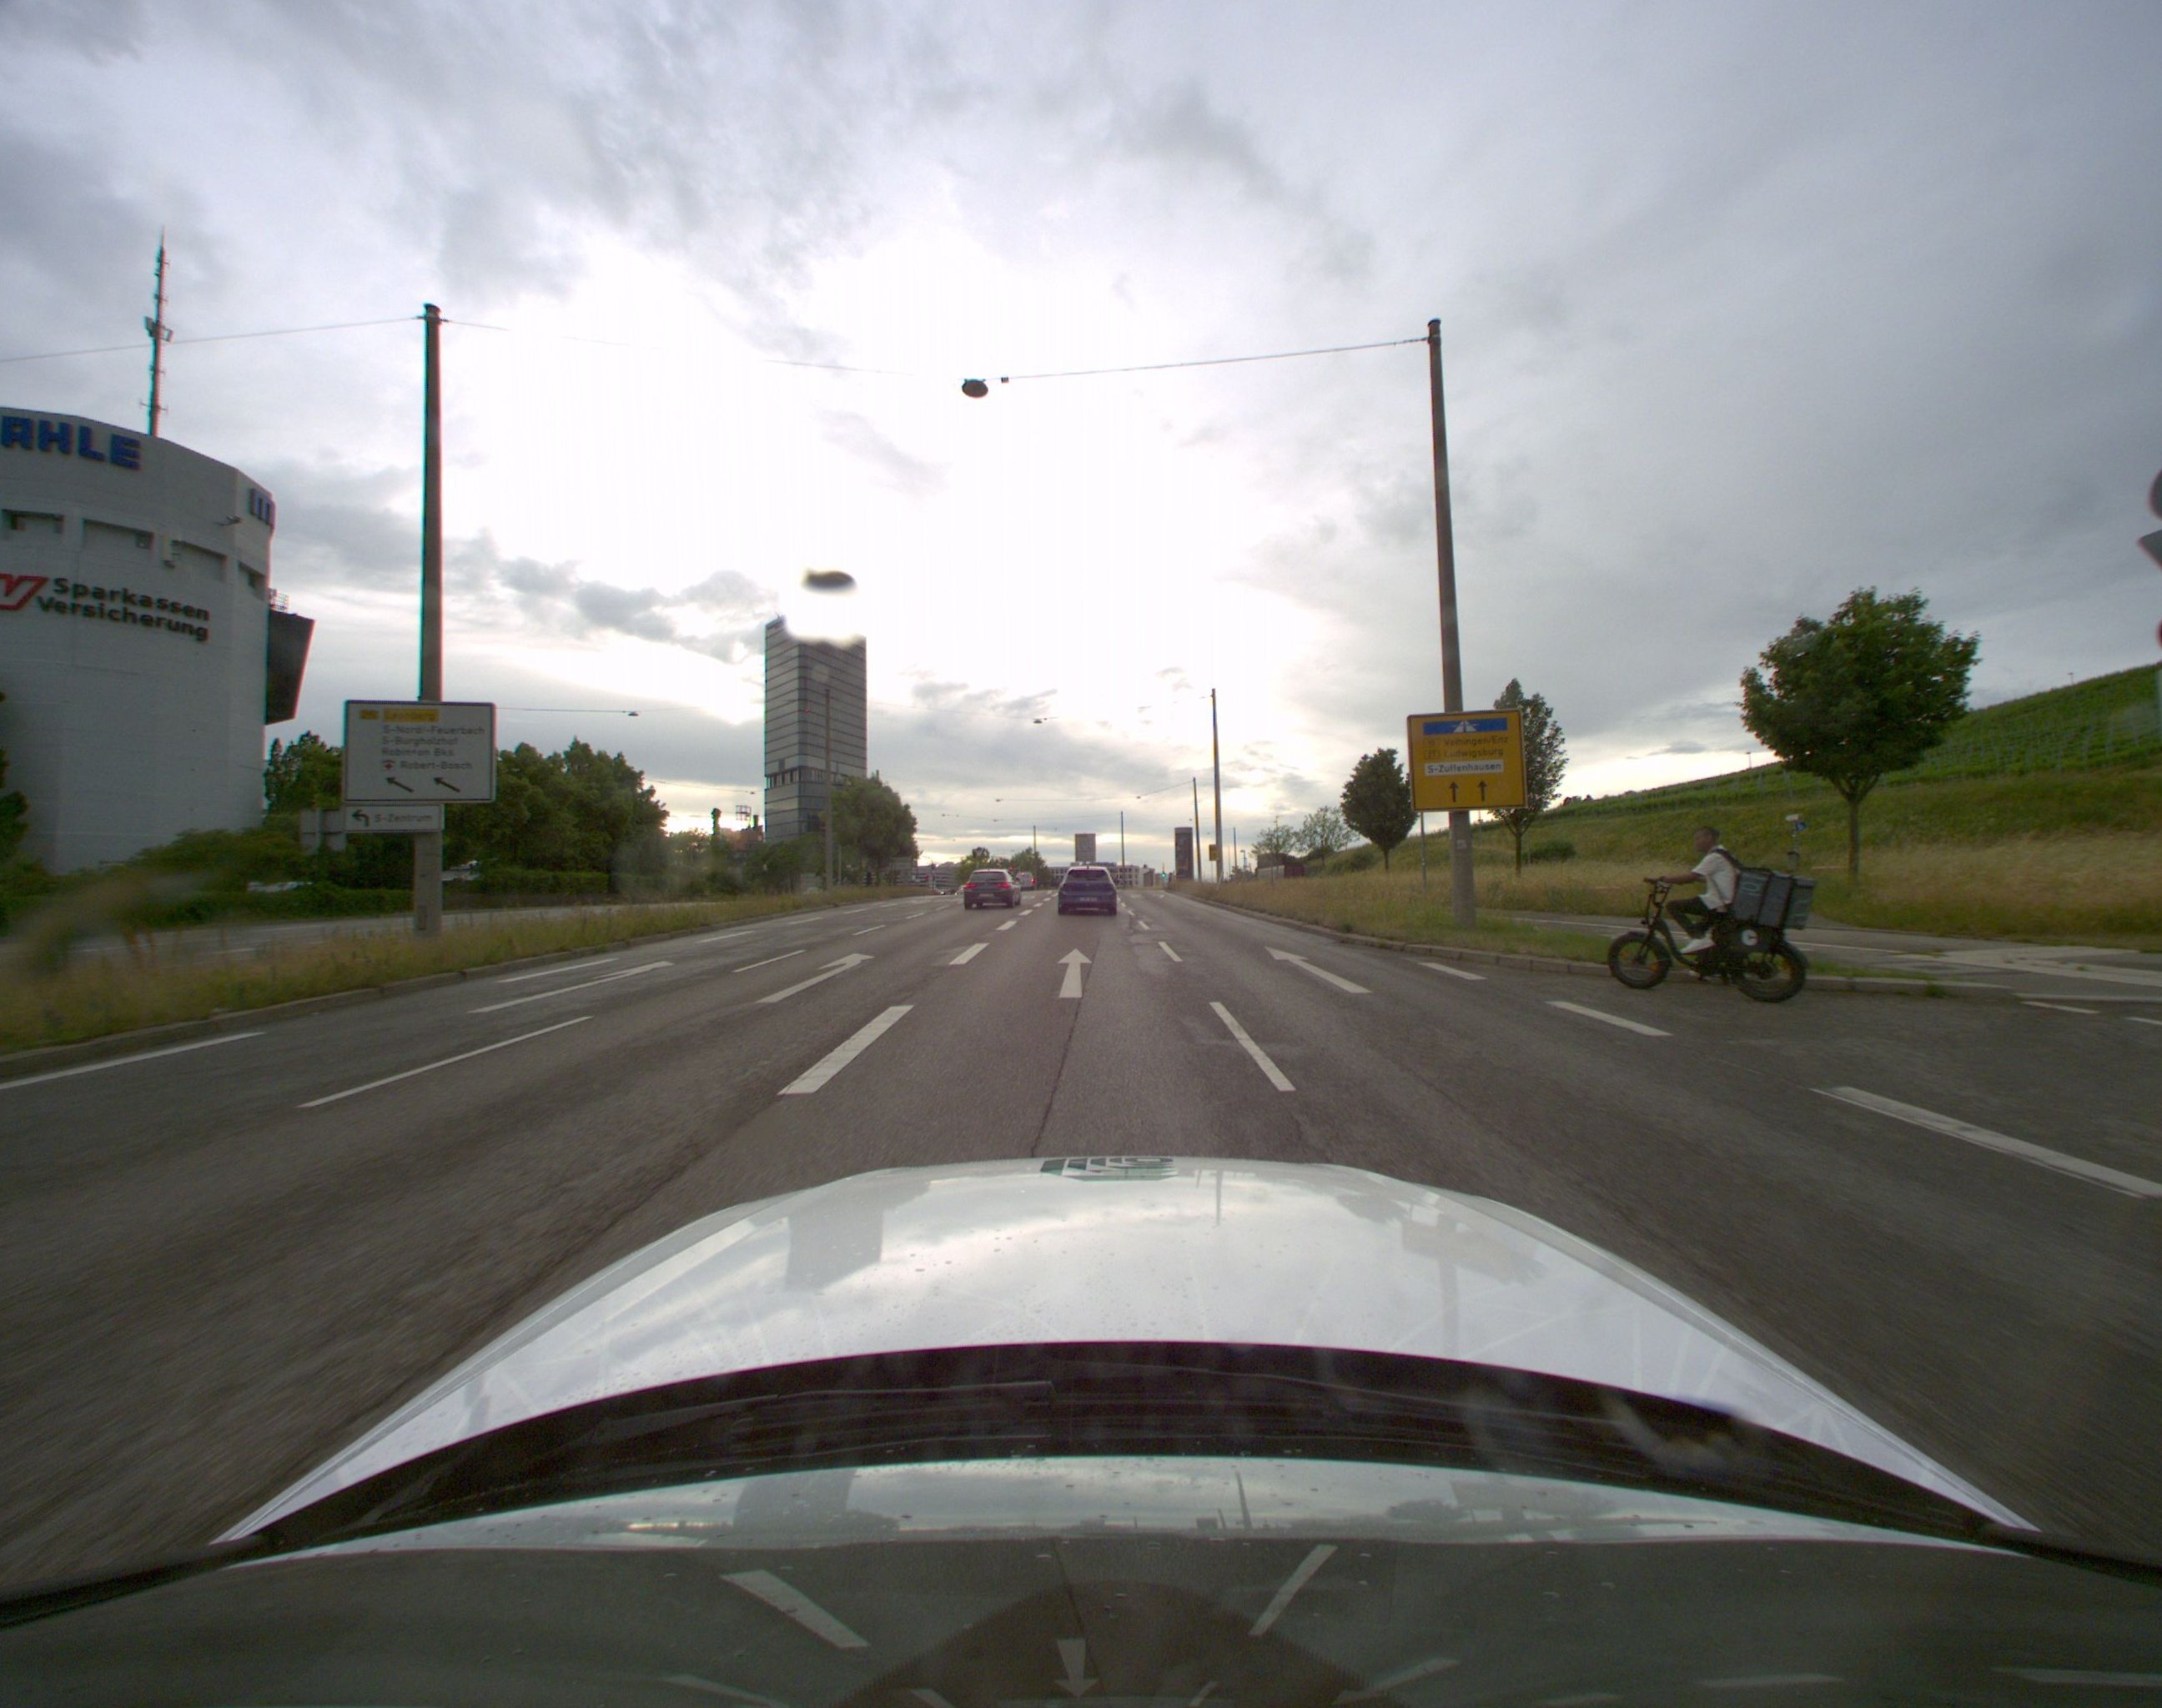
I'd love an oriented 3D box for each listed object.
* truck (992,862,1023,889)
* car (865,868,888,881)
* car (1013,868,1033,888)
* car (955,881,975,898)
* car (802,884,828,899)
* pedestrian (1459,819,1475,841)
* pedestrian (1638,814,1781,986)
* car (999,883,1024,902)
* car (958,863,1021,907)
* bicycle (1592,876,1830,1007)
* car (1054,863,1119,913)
[{"bbox_3d":[-9.195,2.771,101.500,2.672,3.220,6.510,1,-2,-16],"label":"truck"},{"bbox_3d":[-25.952,2.637,103.577,1.888,1.658,4.600,-1,-2,-3],"label":"car"},{"bbox_3d":[-6.092,2.559,85.101,1.902,1.973,5.079,-2,-3,-7],"label":"car"},{"bbox_3d":[-16.006,4.873,112.400,1.999,2.013,3.976,-3,0,-18],"label":"car"},{"bbox_3d":[-27.332,3.872,83.897,1.590,1.360,3.673,1,0,-3],"label":"car"},{"bbox_3d":[36.785,-2.306,77.526,0.784,2.013,1.044,-2,-1,-32],"label":"pedestrian"},{"bbox_3d":[6.159,0.422,8.002,0.636,1.570,0.887,-2,0,-28],"label":"pedestrian"},{"bbox_3d":[-6.283,3.475,73.661,1.715,1.541,3.706,1,0,3],"label":"car"},{"bbox_3d":[-3.336,1.108,30.406,1.863,1.461,3.976,-1,0,0],"label":"car"},{"bbox_3d":[6.148,0.790,8.063,0.636,1.105,1.737,-2,0,-28],"label":"bicycle"},{"bbox_3d":[0.233,1.025,25.448,1.831,1.394,4.001,1,-1,2],"label":"car"}]
